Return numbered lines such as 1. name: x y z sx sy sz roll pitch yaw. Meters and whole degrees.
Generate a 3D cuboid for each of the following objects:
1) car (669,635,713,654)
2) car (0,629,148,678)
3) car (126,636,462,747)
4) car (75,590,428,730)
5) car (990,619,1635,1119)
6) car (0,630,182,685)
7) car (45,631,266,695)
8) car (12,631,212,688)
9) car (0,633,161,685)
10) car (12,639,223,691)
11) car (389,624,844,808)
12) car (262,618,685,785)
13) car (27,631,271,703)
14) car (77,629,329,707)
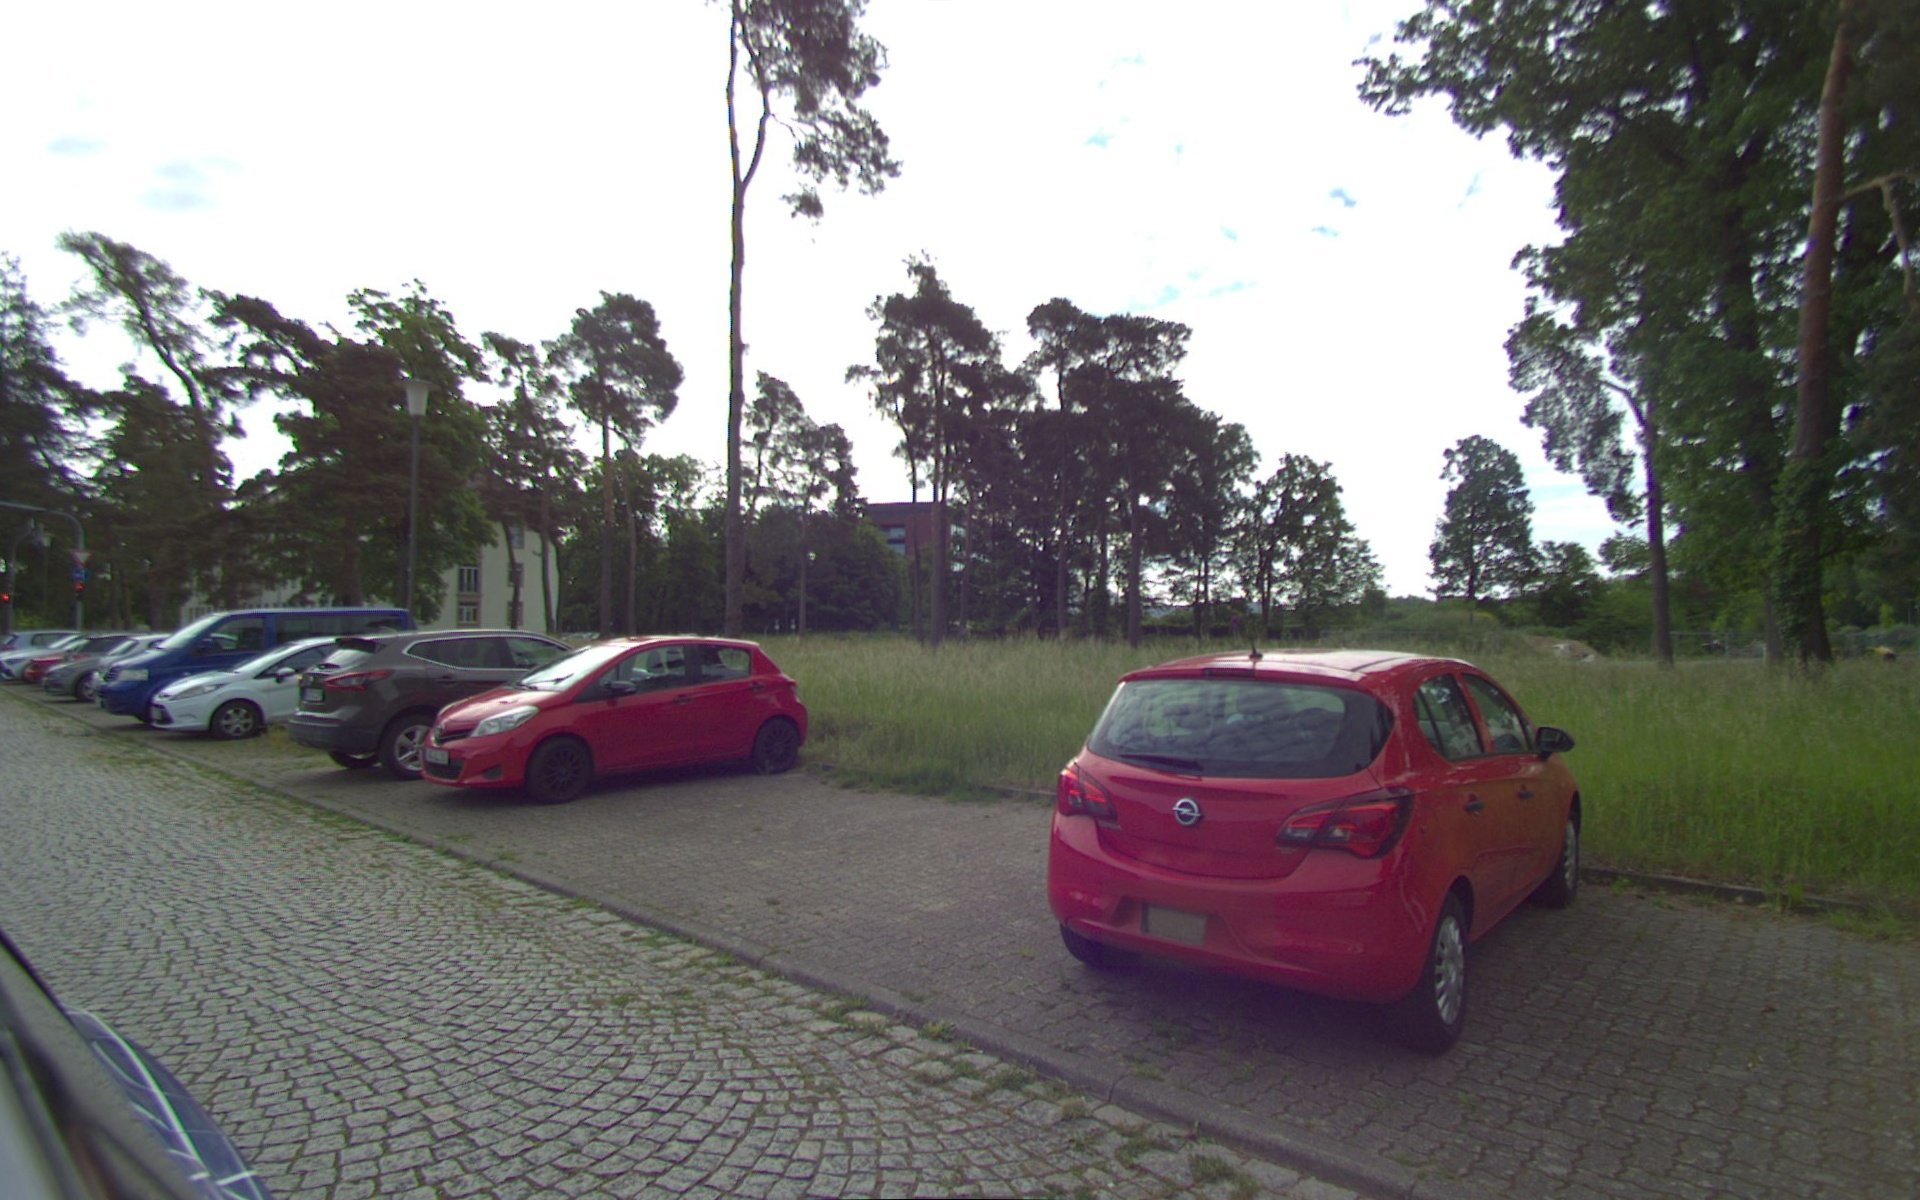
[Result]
1. car: -26.888 4.469 101.396 1.723 1.821 3.942 -2 -3 44
2. car: -30.015 1.767 33.999 1.904 1.555 3.946 -2 -3 40
3. car: -10.476 1.358 16.180 1.779 1.522 4.124 -2 -3 39
4. car: -12.371 1.020 17.959 2.114 2.138 4.732 -2 -3 40
5. car: 2.135 0.917 5.305 1.903 1.537 4.014 -2 -3 40
6. car: -26.114 1.676 30.146 1.934 1.519 4.330 -2 -3 39
7. car: -20.302 1.551 25.672 1.845 1.493 4.121 -2 -3 42
8. car: -24.132 1.669 28.925 1.863 1.488 4.123 -2 -3 41
9. car: -28.150 1.829 31.980 1.933 1.560 4.209 -2 -3 38
10. car: -22.520 1.697 27.162 1.831 1.276 4.121 -2 -3 42
11. car: -3.371 1.049 10.596 1.906 1.522 4.123 -2 -3 40
12. car: -5.634 1.084 12.169 1.984 1.635 4.125 -2 -3 39
13. car: -18.531 1.494 23.250 1.864 1.503 4.120 -2 -3 43
14. car: -16.120 1.413 21.697 1.845 1.509 4.024 -2 -3 42
